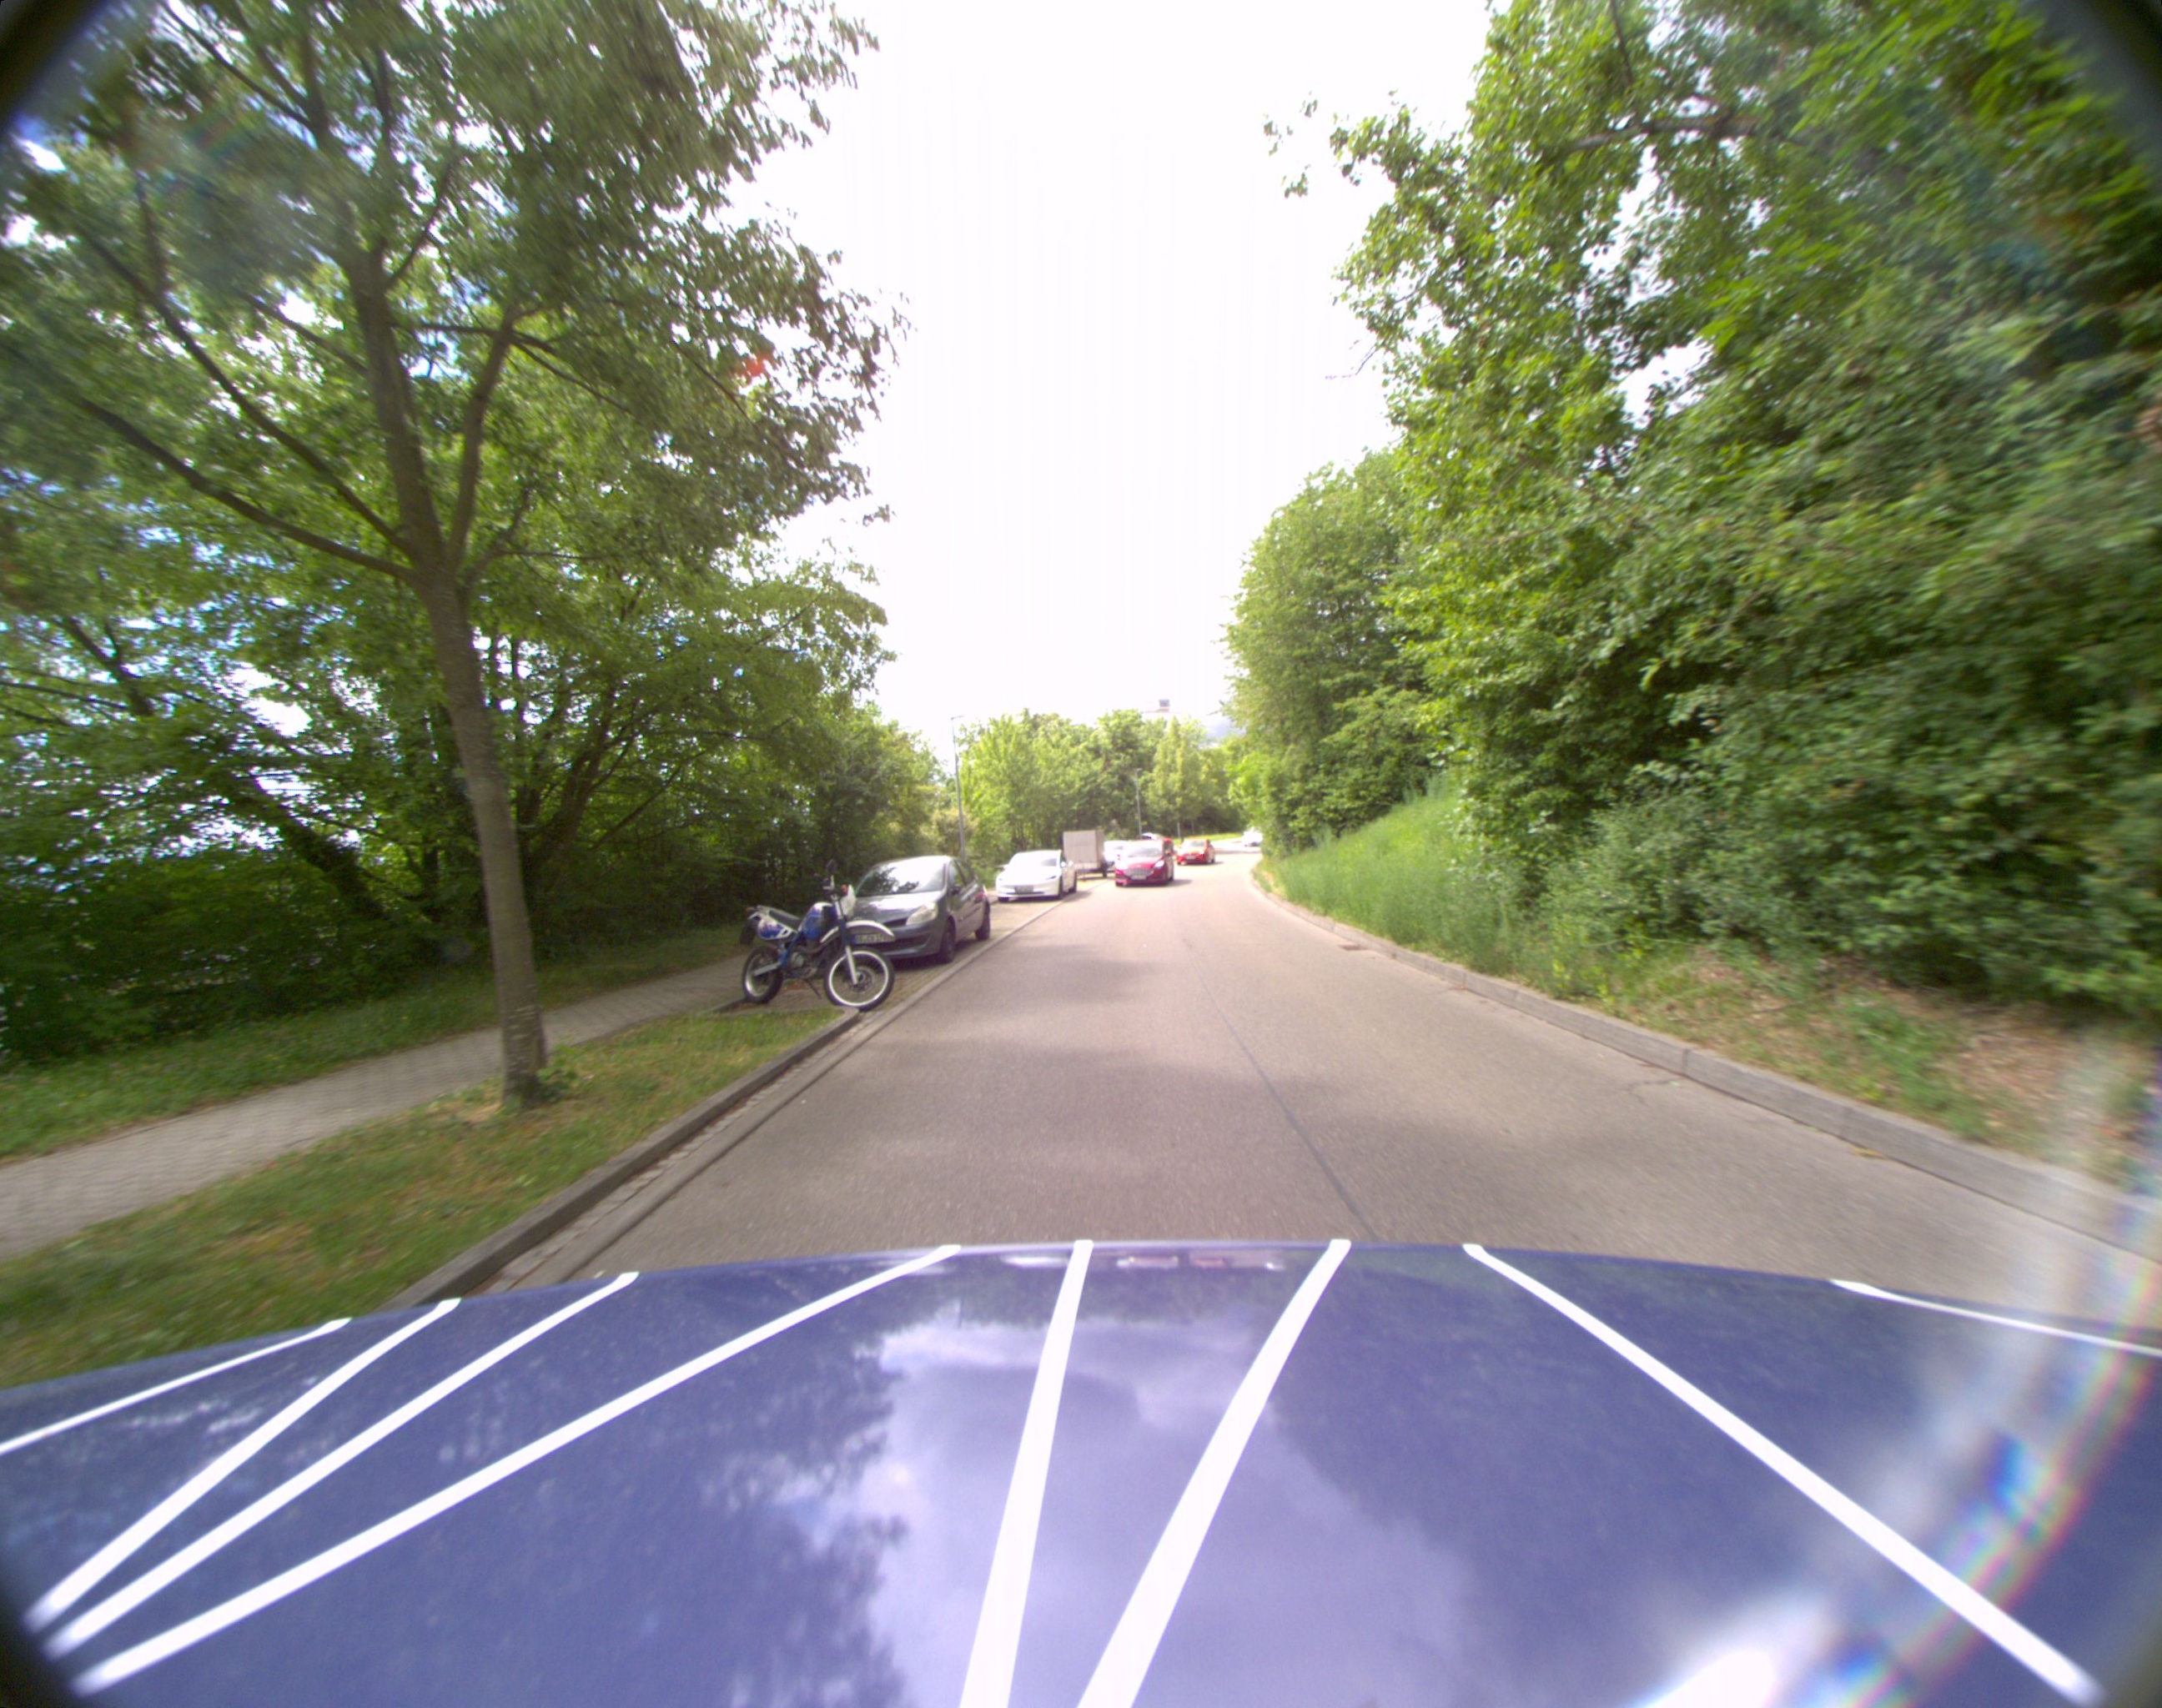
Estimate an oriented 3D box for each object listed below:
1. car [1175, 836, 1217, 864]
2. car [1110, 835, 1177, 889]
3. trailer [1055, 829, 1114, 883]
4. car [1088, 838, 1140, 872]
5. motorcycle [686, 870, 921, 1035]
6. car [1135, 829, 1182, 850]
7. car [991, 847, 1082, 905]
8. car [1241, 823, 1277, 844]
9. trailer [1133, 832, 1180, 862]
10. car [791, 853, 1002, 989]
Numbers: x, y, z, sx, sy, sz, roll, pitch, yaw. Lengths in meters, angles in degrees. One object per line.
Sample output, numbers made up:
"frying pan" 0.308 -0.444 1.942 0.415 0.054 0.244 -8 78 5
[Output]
"car" 6.498 -0.263 42.767 1.793 1.405 4.116 0 3 16
"car" 2.418 0.234 28.329 1.910 1.689 4.388 -1 3 12
"trailer" 0.209 0.026 31.940 1.733 2.067 3.785 -2 2 11
"car" 1.699 0.028 37.808 1.708 1.469 3.786 -2 2 15
"motorcycle" -2.915 0.937 7.941 2.307 1.467 0.977 -1 2 29
"car" 6.474 -1.187 63.856 3.478 1.509 1.654 -2 4 39
"car" -1.218 0.599 23.348 1.866 1.469 4.903 -2 1 7
"car" 14.662 -1.705 62.487 1.793 1.500 4.119 -3 1 29
"trailer" 4.746 -0.481 46.890 1.812 1.570 4.494 -2 3 19
"car" -2.555 0.856 11.660 1.773 1.509 4.108 -3 2 6
